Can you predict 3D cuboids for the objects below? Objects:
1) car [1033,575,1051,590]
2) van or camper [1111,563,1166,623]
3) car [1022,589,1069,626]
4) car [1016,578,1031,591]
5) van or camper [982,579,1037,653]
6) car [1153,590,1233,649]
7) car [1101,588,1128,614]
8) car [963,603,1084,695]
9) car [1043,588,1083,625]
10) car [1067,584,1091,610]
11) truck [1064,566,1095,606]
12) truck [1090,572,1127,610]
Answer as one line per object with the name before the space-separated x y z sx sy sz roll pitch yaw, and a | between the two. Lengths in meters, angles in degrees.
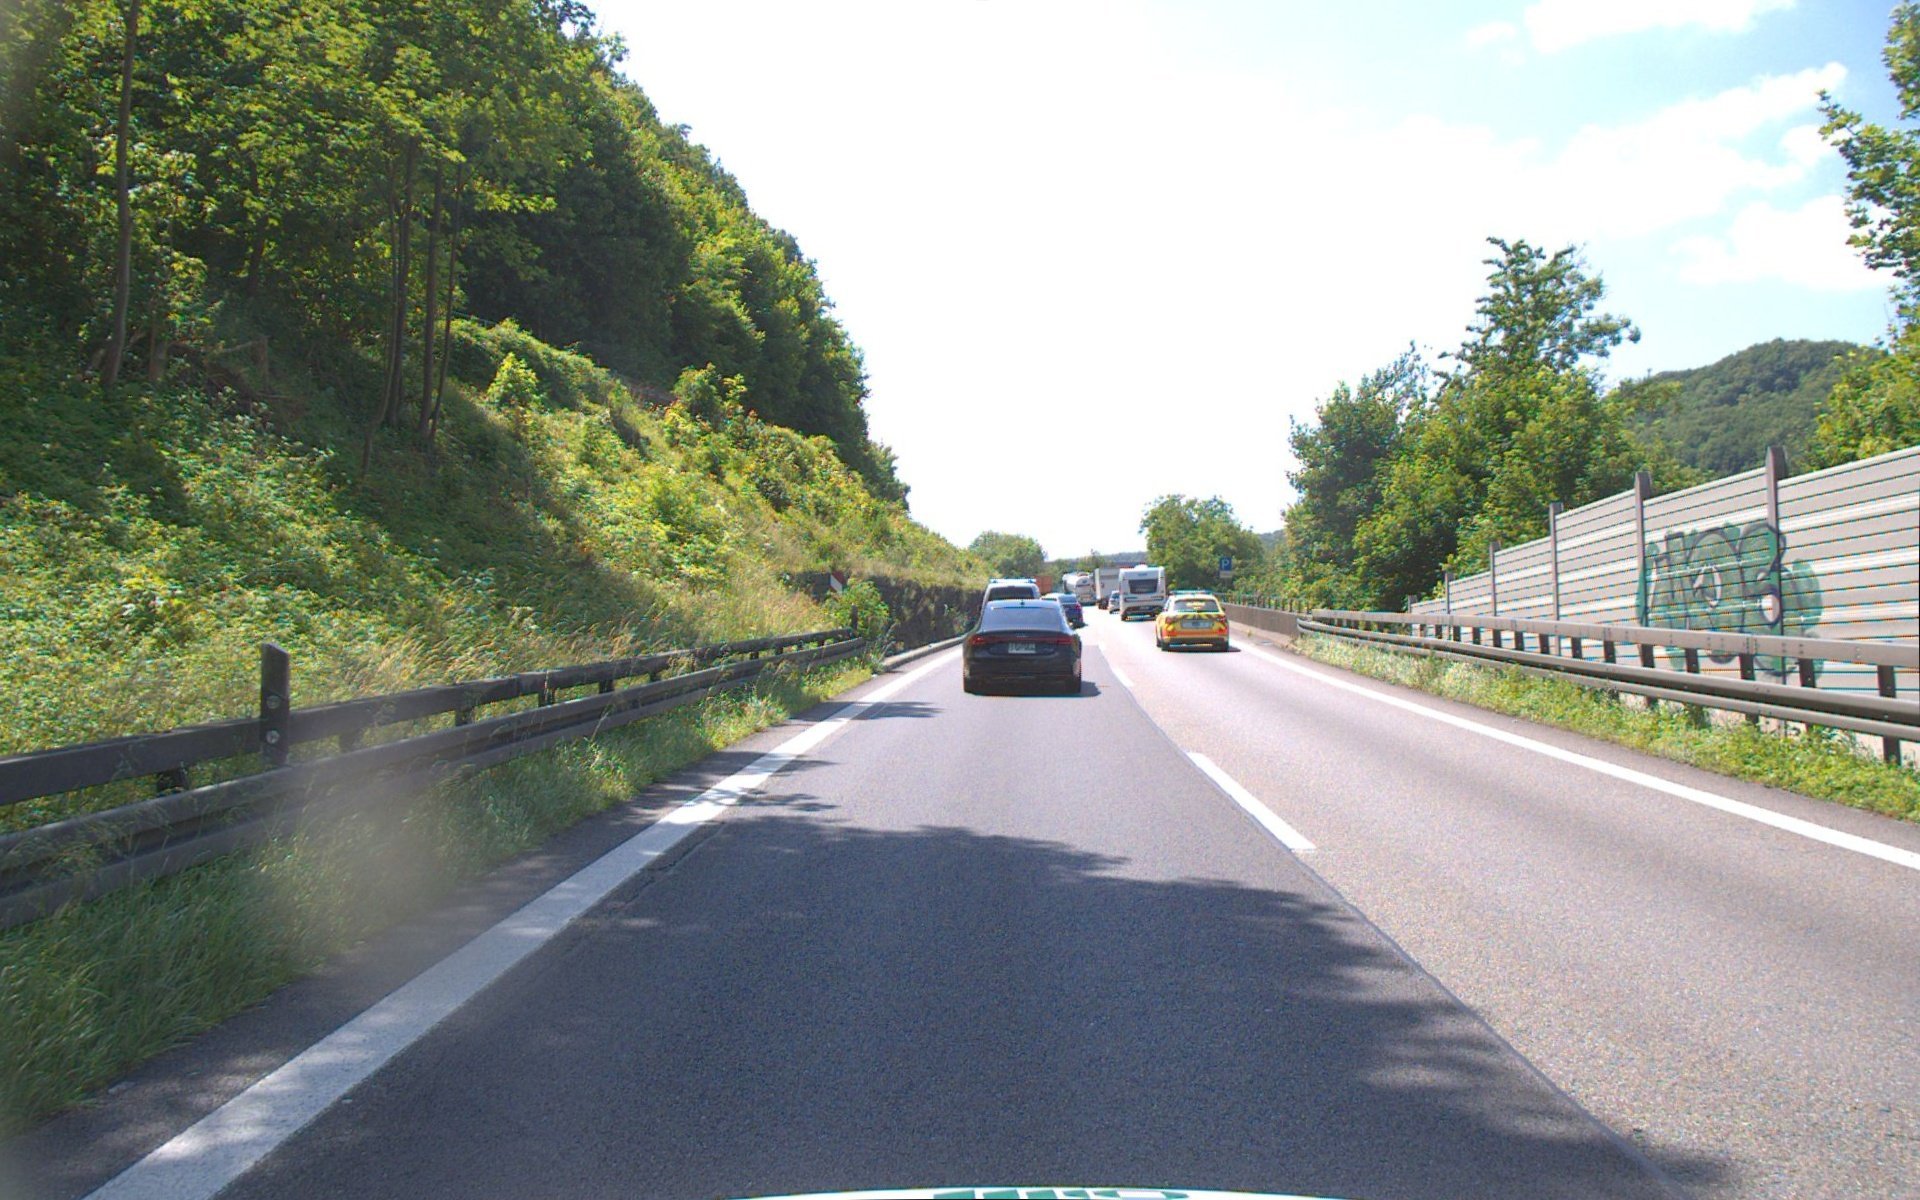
car | 11.420 -2.477 230.669 1.954 2.049 3.997 -1 0 -4
van or camper | 9.197 -0.321 85.547 2.404 2.969 6.127 0 -1 2
car | 3.507 0.323 67.479 1.710 1.456 4.002 0 -1 6
car | 9.855 -2.403 256.389 1.954 2.049 3.997 -1 0 -4
van or camper | 1.266 0.418 43.561 1.363 1.848 4.000 0 -1 0
car | 6.223 0.529 44.461 1.824 1.514 4.002 0 -1 4
car | 10.779 0.074 115.632 1.802 1.747 4.002 1 0 4
car | 1.070 0.760 26.789 1.799 1.373 4.001 0 -1 3
car | 4.867 0.288 78.618 1.736 1.665 4.001 1 0 2
car | 9.768 -0.241 135.756 1.951 2.100 4.002 1 0 5
truck | 12.827 -1.482 177.802 2.677 4.168 7.478 1 0 -1
truck | 12.866 -0.803 143.808 2.782 3.186 7.482 1 0 2
